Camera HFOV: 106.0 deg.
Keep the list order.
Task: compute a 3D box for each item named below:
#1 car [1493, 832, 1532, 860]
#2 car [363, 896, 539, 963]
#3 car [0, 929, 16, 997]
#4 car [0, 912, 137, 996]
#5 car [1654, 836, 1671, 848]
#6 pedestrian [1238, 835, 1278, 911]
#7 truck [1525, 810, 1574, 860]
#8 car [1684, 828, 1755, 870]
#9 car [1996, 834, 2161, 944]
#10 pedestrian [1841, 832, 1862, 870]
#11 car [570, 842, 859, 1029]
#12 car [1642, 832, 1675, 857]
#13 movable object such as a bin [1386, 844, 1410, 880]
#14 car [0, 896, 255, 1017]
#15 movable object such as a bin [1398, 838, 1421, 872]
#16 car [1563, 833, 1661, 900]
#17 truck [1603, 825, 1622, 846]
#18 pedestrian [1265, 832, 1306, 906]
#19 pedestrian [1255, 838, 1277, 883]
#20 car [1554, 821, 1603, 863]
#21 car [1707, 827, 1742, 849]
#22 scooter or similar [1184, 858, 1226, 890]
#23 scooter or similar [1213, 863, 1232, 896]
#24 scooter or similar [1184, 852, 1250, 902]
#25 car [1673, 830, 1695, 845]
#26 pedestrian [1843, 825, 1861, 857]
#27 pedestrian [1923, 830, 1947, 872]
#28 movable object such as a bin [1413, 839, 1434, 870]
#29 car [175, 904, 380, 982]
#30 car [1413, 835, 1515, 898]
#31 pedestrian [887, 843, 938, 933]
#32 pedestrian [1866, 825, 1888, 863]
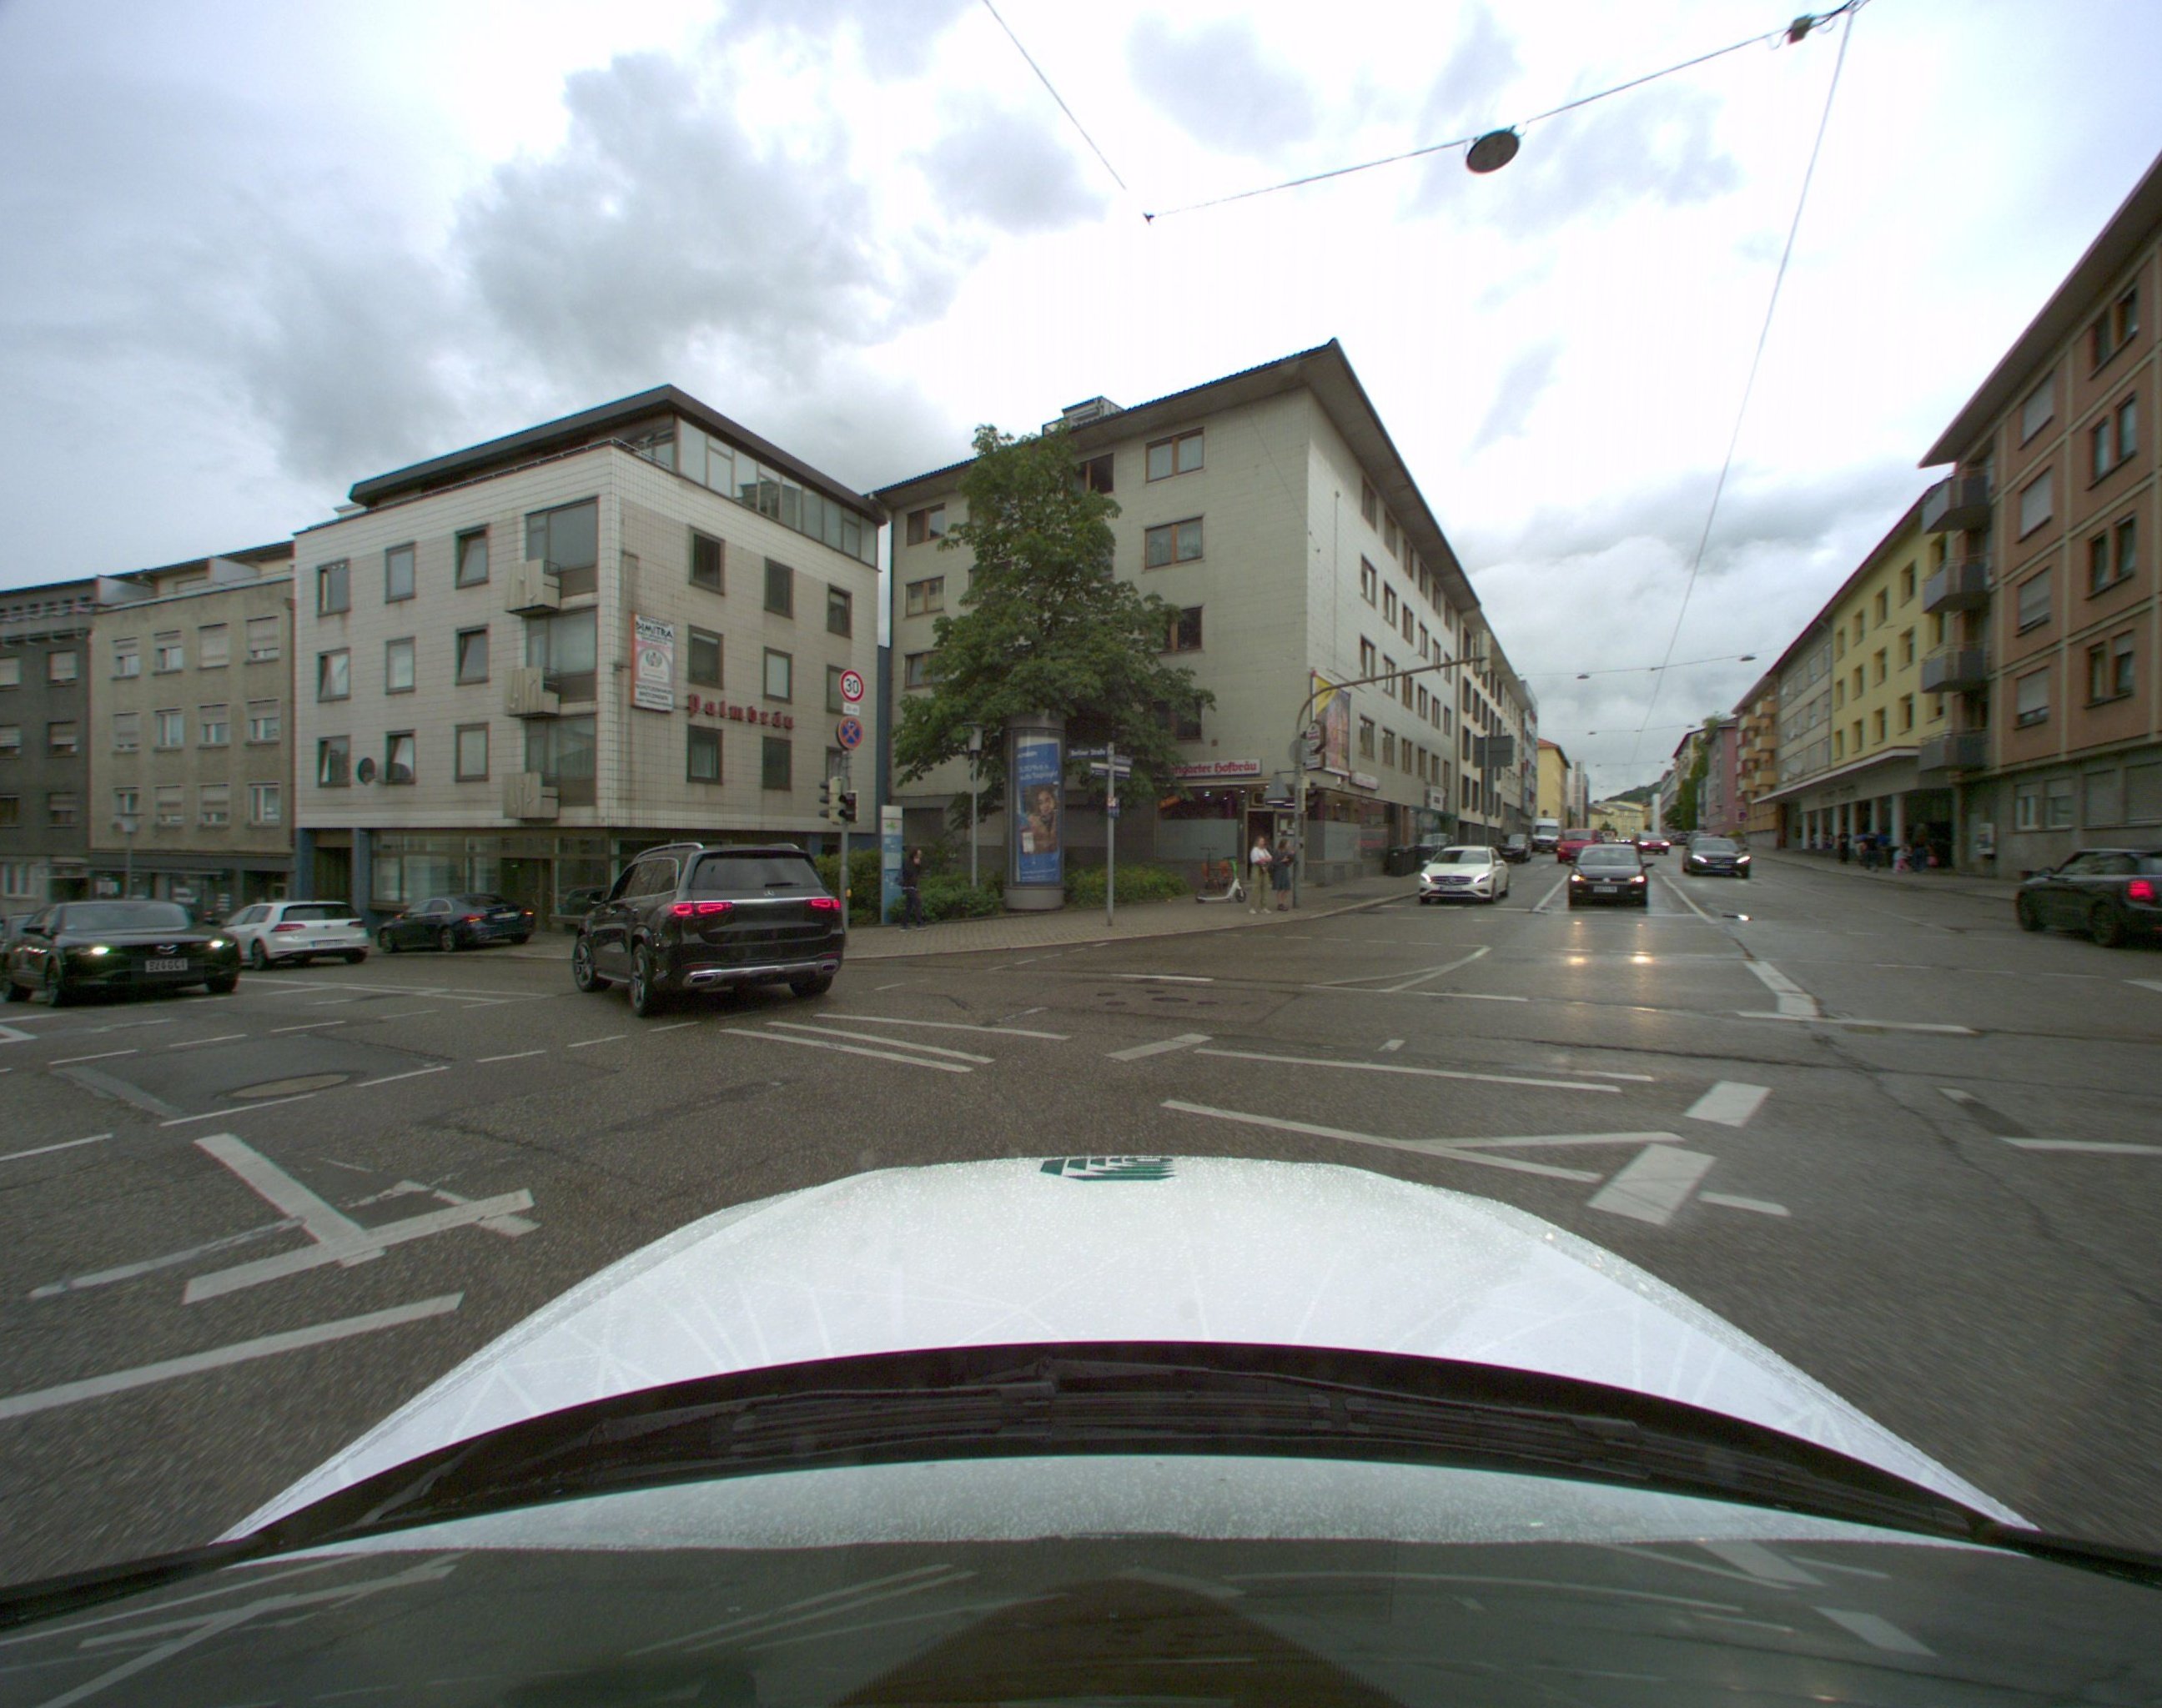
[{"bbox_3d":[25.771,-0.442,48.566,1.707,1.603,4.025,-2,-1,33],"label":"car"},{"bbox_3d":[-16.313,1.958,21.061,4.324,1.392,1.780,-4,0,26],"label":"car"},{"bbox_3d":[-27.045,2.658,19.069,4.503,1.521,1.823,-4,-2,28],"label":"car"},{"bbox_3d":[-21.299,2.031,16.555,4.323,1.415,1.823,-4,-2,28],"label":"car"},{"bbox_3d":[87.546,-1.796,122.550,1.996,1.562,4.025,1,-1,36],"label":"car"},{"bbox_3d":[3.941,0.410,18.141,0.706,1.647,0.758,0,2,-3],"label":"pedestrian"},{"bbox_3d":[39.833,-1.530,69.067,2.780,3.832,8.195,1,-1,35],"label":"truck"},{"bbox_3d":[24.558,-0.143,31.459,1.826,1.489,4.025,-2,-1,34],"label":"car"},{"bbox_3d":[15.761,0.437,12.190,1.644,1.420,4.098,-2,0,32],"label":"car"},{"bbox_3d":[31.813,-0.123,33.610,0.515,1.538,0.573,1,3,34],"label":"pedestrian"},{"bbox_3d":[-4.728,0.825,10.050,2.038,1.739,4.691,-1,-1,-40],"label":"car"},{"bbox_3d":[40.925,-0.662,57.794,1.826,1.674,4.025,-2,-1,34],"label":"car"},{"bbox_3d":[11.960,0.295,30.686,0.690,1.315,0.787,1,-1,32],"label":"movable object such as a bin"},{"bbox_3d":[-15.134,1.595,12.875,4.322,1.537,1.836,-5,-3,30],"label":"car"},{"bbox_3d":[13.004,0.039,32.266,0.690,1.315,0.787,1,-1,32],"label":"movable object such as a bin"},{"bbox_3d":[13.248,0.309,20.332,1.826,1.489,4.025,-2,-1,34],"label":"car"},{"bbox_3d":[106.416,-3.603,163.015,2.780,3.832,8.195,1,-1,35],"label":"truck"},{"bbox_3d":[4.662,0.328,18.616,0.706,1.647,0.758,0,2,-3],"label":"pedestrian"},{"bbox_3d":[5.946,0.204,26.131,0.514,1.400,0.582,1,-1,30],"label":"pedestrian"},{"bbox_3d":[28.195,-0.627,46.101,2.045,2.241,4.649,-2,-2,35],"label":"car"},{"bbox_3d":[52.278,-1.268,66.199,1.996,1.562,5.187,1,-1,36],"label":"car"},{"bbox_3d":[3.450,0.551,22.733,0.550,0.843,1.456,2,-1,-19],"label":"scooter or similar"},{"bbox_3d":[3.854,0.687,22.140,0.455,0.843,1.326,1,-1,11],"label":"scooter or similar"},{"bbox_3d":[3.371,0.564,20.228,1.549,1.190,0.501,1,-1,4],"label":"scooter or similar"},{"bbox_3d":[69.277,-1.849,93.623,1.996,1.562,4.025,1,-1,36],"label":"car"},{"bbox_3d":[37.224,-0.629,39.337,0.515,1.556,0.573,1,3,34],"label":"pedestrian"},{"bbox_3d":[31.895,-0.117,30.412,0.474,1.566,0.561,1,3,34],"label":"pedestrian"},{"bbox_3d":[14.516,0.024,34.543,0.690,1.315,0.787,1,-1,32],"label":"movable object such as a bin"},{"bbox_3d":[-18.307,2.037,18.539,4.325,1.462,1.847,-4,-1,24],"label":"car"},{"bbox_3d":[10.249,0.321,21.654,1.826,1.513,4.025,-2,-1,34],"label":"car"},{"bbox_3d":[-3.614,0.698,17.418,0.757,1.817,0.909,-3,1,-28],"label":"pedestrian"},{"bbox_3d":[32.388,-0.404,33.122,0.515,1.518,0.573,1,3,34],"label":"pedestrian"}]
